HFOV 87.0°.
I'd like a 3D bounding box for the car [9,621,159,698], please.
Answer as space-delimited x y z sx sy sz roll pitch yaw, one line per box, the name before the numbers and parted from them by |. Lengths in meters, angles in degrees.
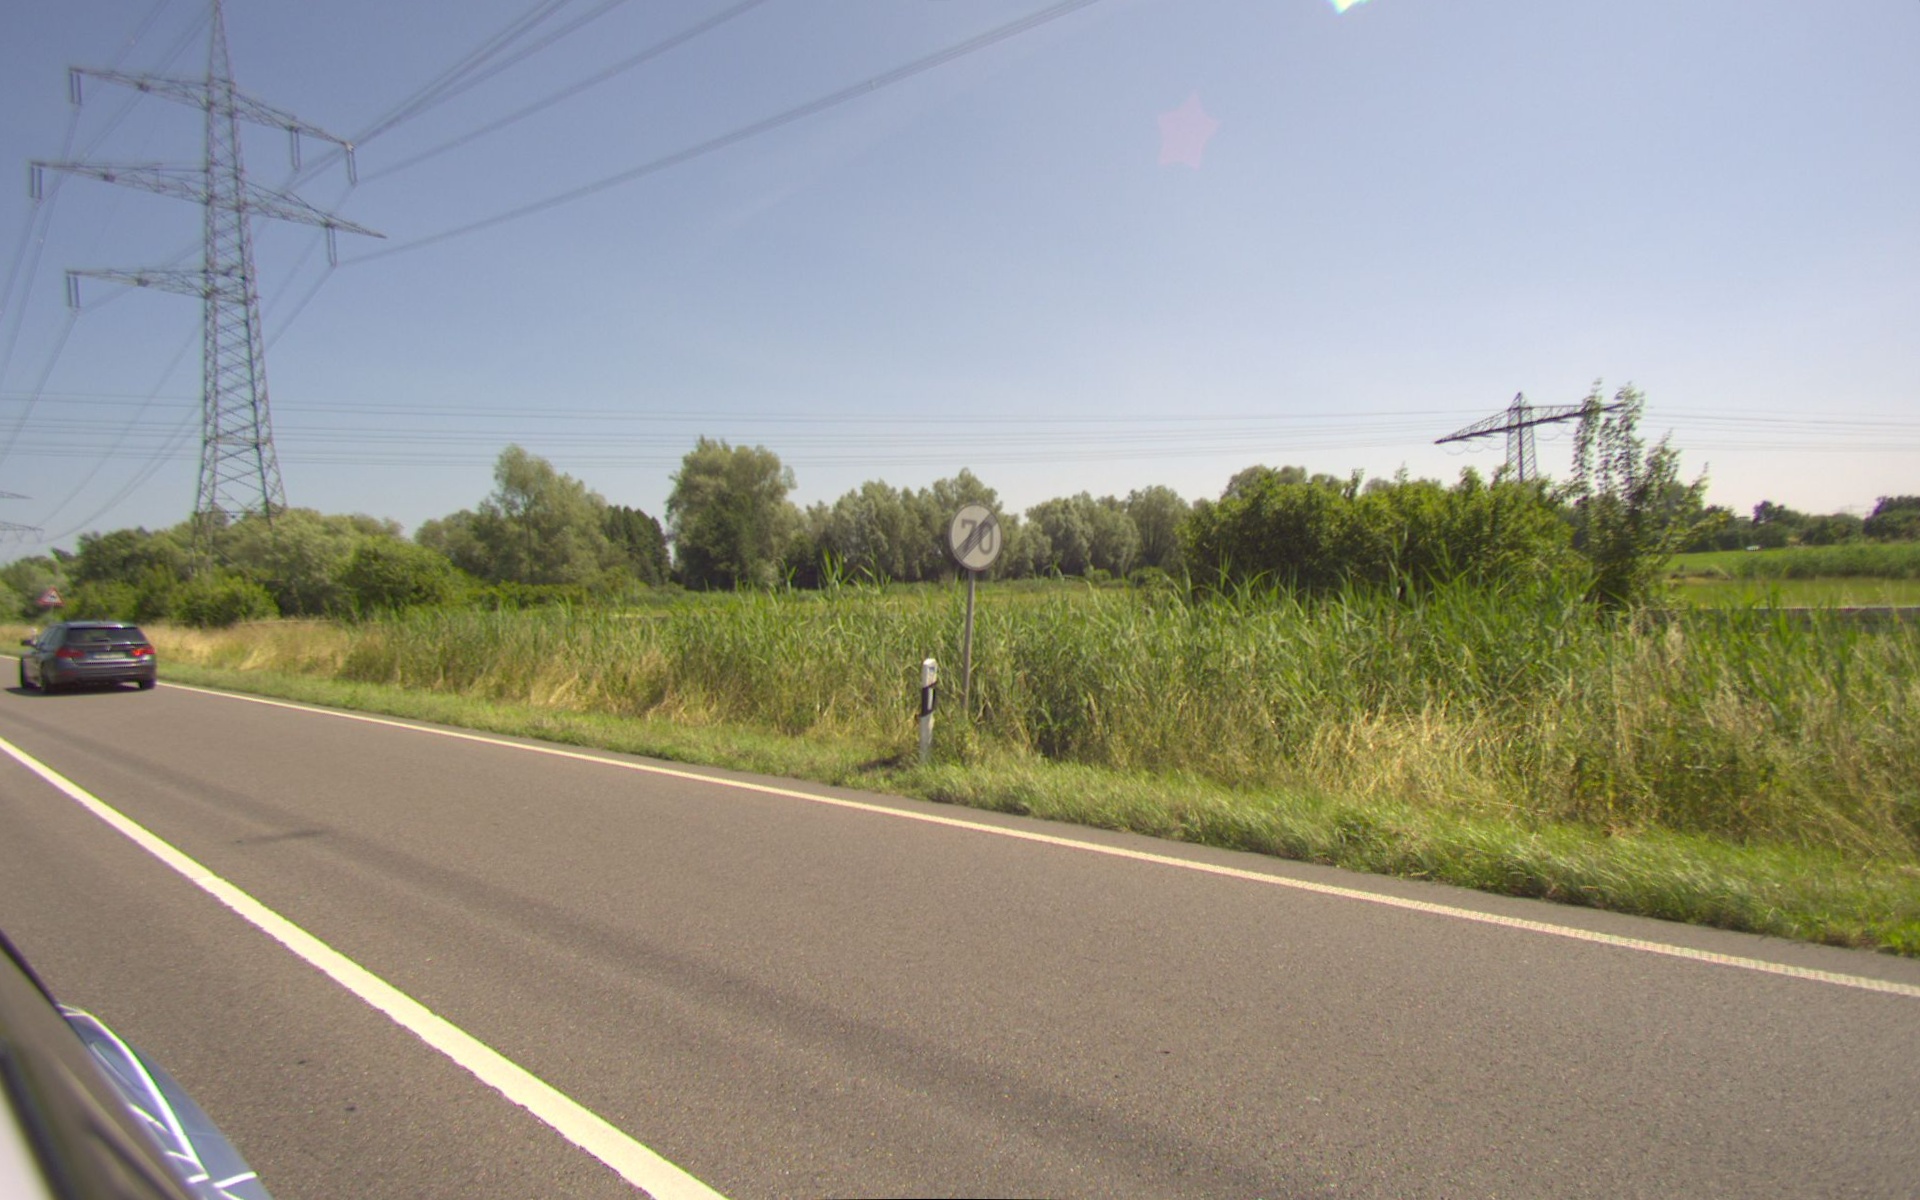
car | -18.522 1.186 21.335 4.319 1.444 1.727 -1 -1 40
